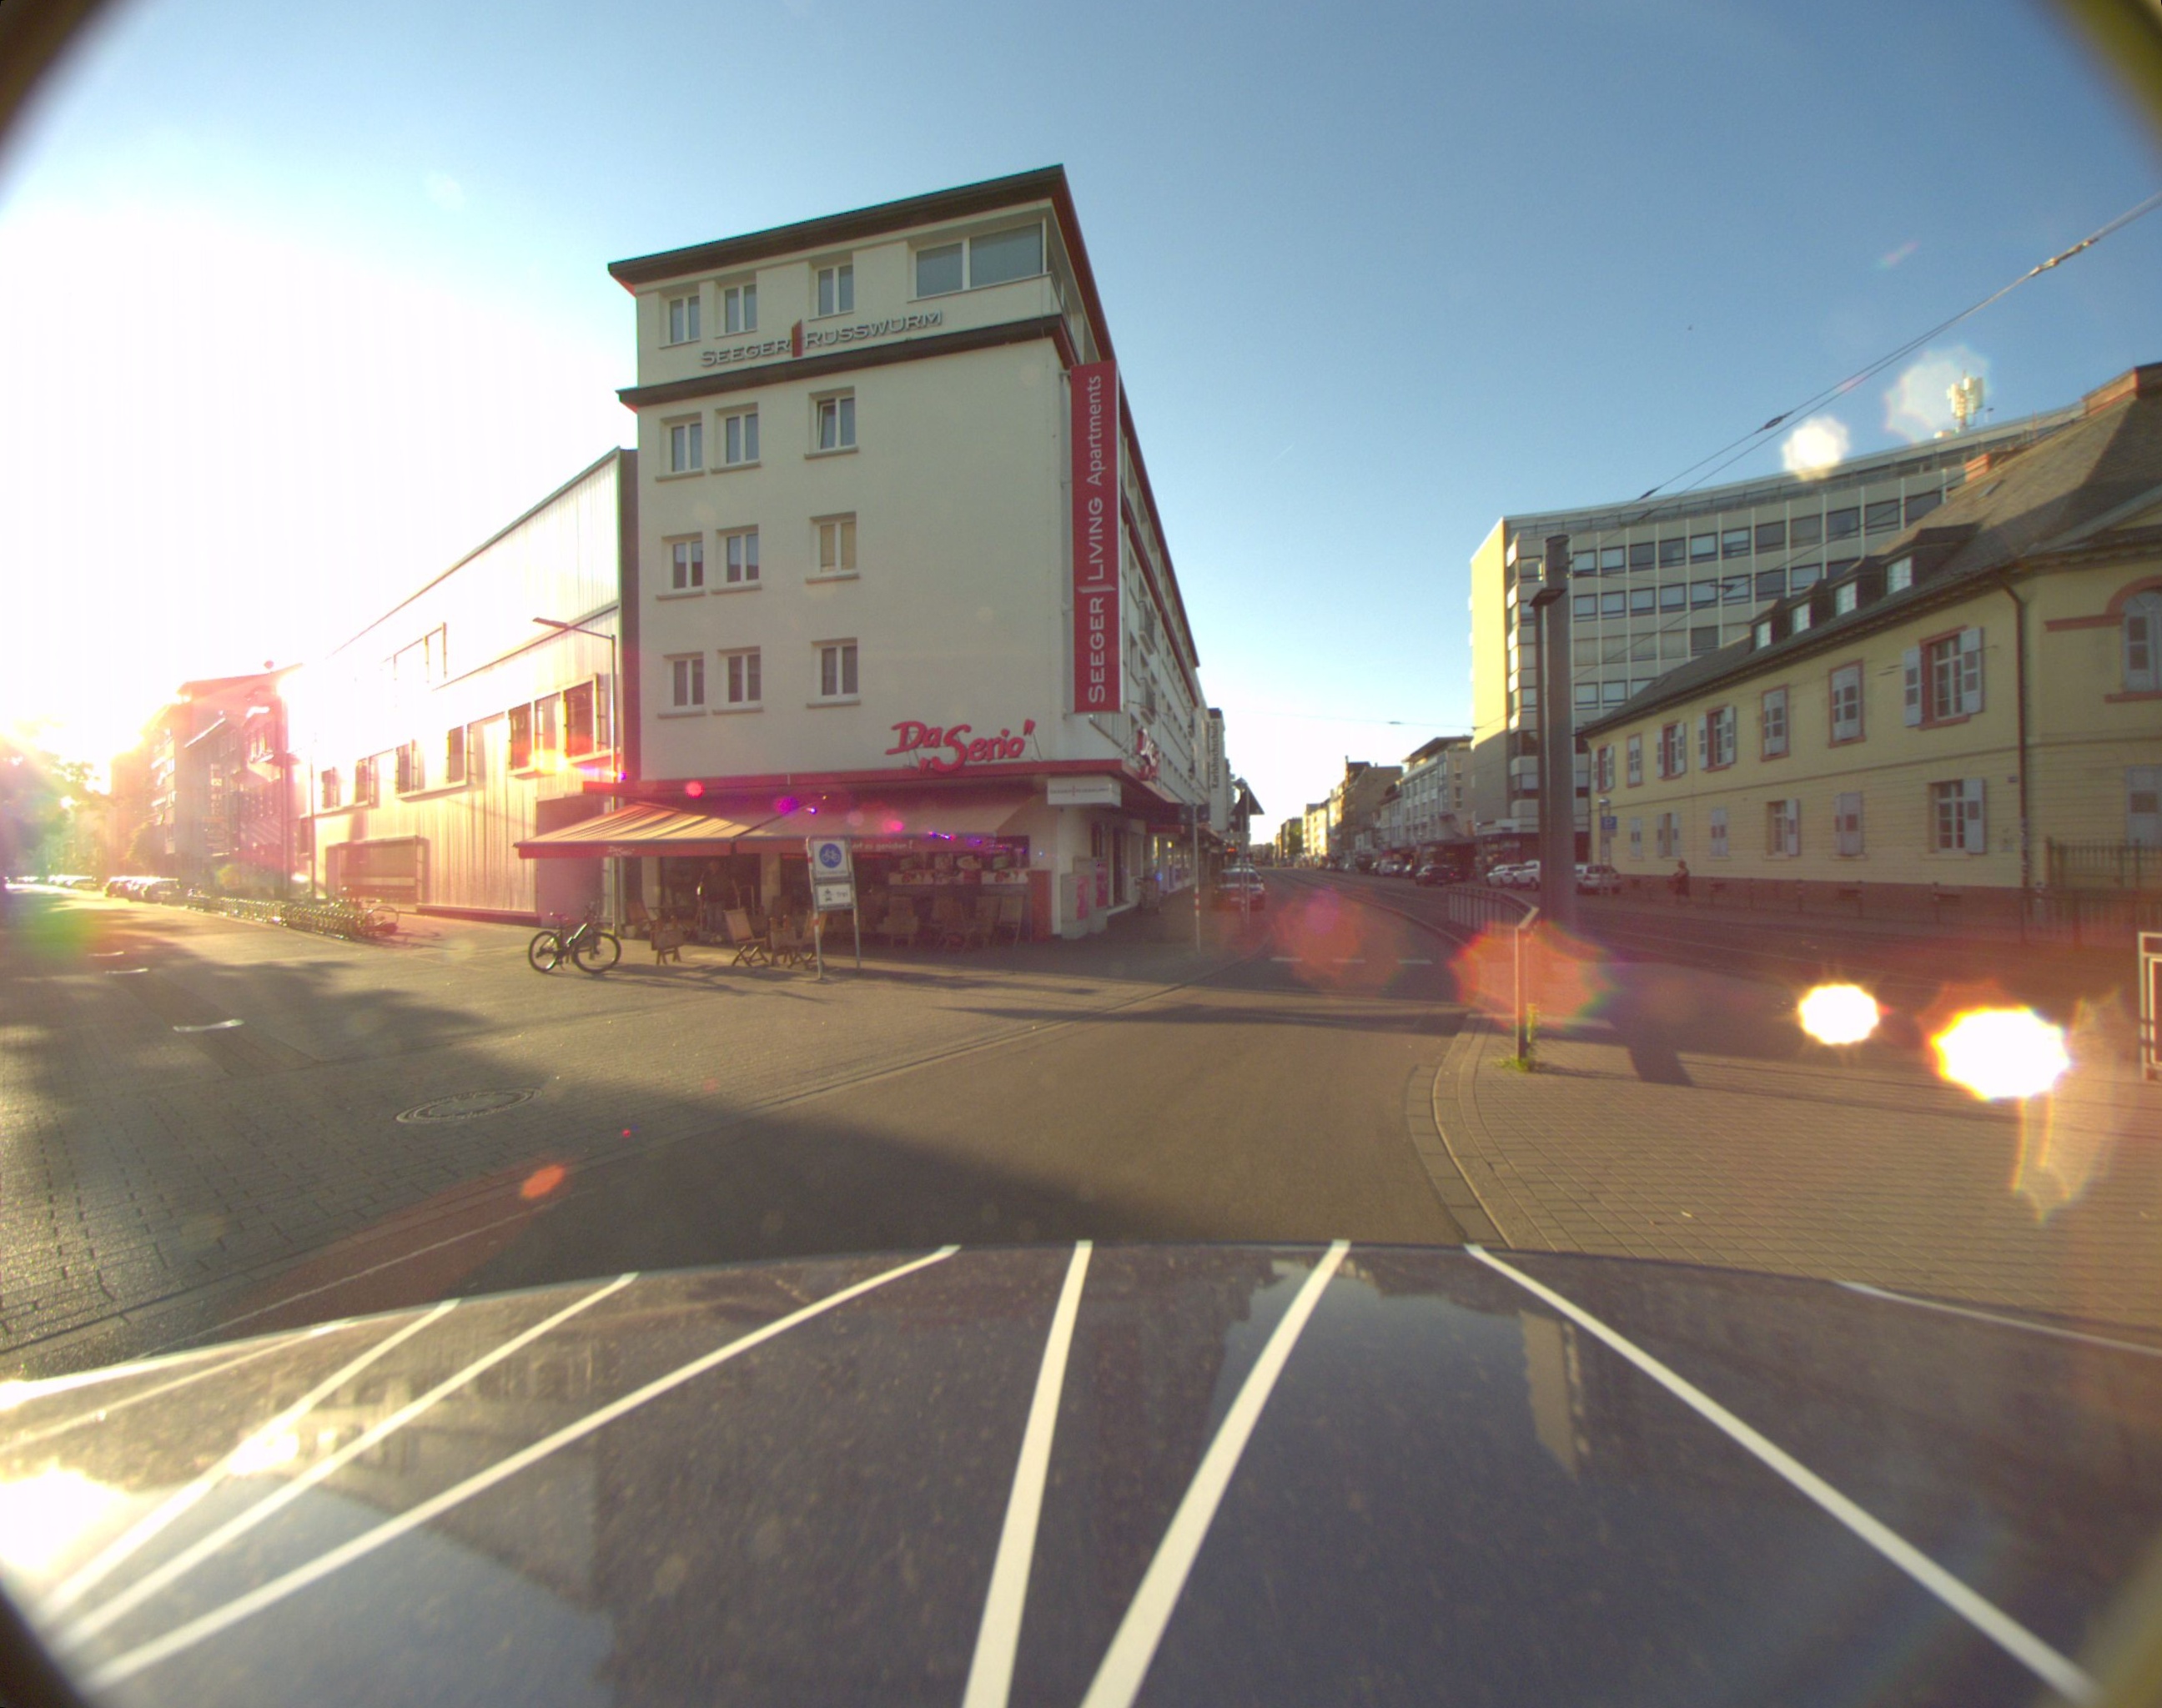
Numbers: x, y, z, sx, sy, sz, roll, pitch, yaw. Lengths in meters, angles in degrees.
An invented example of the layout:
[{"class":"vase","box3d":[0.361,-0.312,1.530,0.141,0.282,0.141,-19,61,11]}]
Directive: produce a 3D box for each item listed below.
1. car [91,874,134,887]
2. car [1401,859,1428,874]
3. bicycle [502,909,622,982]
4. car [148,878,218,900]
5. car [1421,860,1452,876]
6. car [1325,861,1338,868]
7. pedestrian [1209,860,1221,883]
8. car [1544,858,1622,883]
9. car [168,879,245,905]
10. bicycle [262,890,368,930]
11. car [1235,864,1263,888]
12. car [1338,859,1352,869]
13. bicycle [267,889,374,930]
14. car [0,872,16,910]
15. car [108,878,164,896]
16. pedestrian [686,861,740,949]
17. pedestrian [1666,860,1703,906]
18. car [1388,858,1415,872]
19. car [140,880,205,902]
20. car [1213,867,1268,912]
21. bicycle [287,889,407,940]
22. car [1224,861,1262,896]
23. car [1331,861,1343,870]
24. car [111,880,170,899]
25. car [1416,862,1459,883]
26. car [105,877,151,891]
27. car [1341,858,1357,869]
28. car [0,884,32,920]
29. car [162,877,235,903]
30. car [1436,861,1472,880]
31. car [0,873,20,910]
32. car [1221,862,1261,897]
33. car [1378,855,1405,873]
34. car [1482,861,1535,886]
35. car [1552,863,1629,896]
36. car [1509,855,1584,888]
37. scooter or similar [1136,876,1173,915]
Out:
[{"class":"car","box3d":[-101.880,2.799,79.946,1.262,1.271,2.694,-3,-1,35]},{"class":"car","box3d":[33.487,1.203,76.457,1.793,1.452,4.096,0,-1,14]},{"class":"bicycle","box3d":[-8.727,1.521,12.772,1.907,1.152,0.537,-1,0,15]},{"class":"car","box3d":[-55.372,2.151,46.857,1.445,1.239,2.694,-3,-1,38]},{"class":"car","box3d":[31.567,1.231,67.586,1.694,1.426,3.596,-1,-1,12]},{"class":"car","box3d":[51.514,2.112,156.266,1.997,1.411,4.407,-3,-1,10]},{"class":"pedestrian","box3d":[8.940,1.166,50.742,0.734,1.564,0.968,-1,0,12]},{"class":"car","box3d":[34.302,1.116,52.048,3.994,1.544,1.916,-3,0,11]},{"class":"car","box3d":[-48.358,2.087,42.048,1.445,1.239,2.694,-3,-1,38]},{"class":"bicycle","box3d":[-24.912,1.791,24.769,0.527,1.133,2.348,-2,0,30]},{"class":"car","box3d":[11.925,1.511,54.035,1.795,1.524,4.861,-2,-1,12]},{"class":"car","box3d":[44.559,1.631,128.229,1.658,1.561,3.473,-2,-1,12]},{"class":"bicycle","box3d":[-24.415,1.760,24.469,0.527,1.138,2.348,-2,0,30]},{"class":"car","box3d":[-56.970,1.959,37.890,1.864,1.965,4.003,-2,0,8]},{"class":"car","box3d":[-74.640,2.625,60.031,1.400,1.239,2.694,-3,-1,35]},{"class":"pedestrian","box3d":[-7.982,1.086,16.515,0.715,1.815,0.762,-2,1,1]},{"class":"pedestrian","box3d":[20.491,0.983,25.822,0.720,1.527,0.719,0,0,8]},{"class":"car","box3d":[34.993,1.217,83.090,1.875,1.418,4.575,-3,-1,13]},{"class":"car","box3d":[-59.559,2.440,49.832,1.295,1.292,2.591,-3,-1,36]},{"class":"car","box3d":[5.966,1.255,28.424,1.793,1.404,4.692,-3,-1,12]},{"class":"bicycle","box3d":[-20.896,1.697,21.709,0.604,1.225,2.348,-1,1,30]},{"class":"car","box3d":[8.754,1.298,41.006,1.859,1.690,4.422,-2,-1,12]},{"class":"car","box3d":[48.736,2.197,144.593,1.844,1.484,3.820,-3,-1,13]},{"class":"car","box3d":[-70.773,2.667,57.195,1.445,1.239,2.694,-3,-1,35]},{"class":"car","box3d":[24.522,1.235,52.443,1.769,1.368,4.227,-1,0,12]},{"class":"car","box3d":[-93.071,2.913,74.192,1.445,1.239,2.694,-1,-1,35]},{"class":"car","box3d":[43.795,1.525,124.069,1.894,1.547,4.627,-3,-1,13]},{"class":"car","box3d":[-41.556,1.821,27.309,1.999,1.337,4.153,-1,0,-2]},{"class":"car","box3d":[-51.164,2.089,44.076,1.445,1.351,2.694,-3,-1,38]},{"class":"car","box3d":[30.358,1.318,61.917,1.694,1.417,3.969,-3,-1,13]},{"class":"car","box3d":[-59.471,2.058,39.849,1.843,2.001,4.003,-2,0,8]},{"class":"car","box3d":[7.418,1.125,35.142,1.654,1.412,4.195,-3,-1,13]},{"class":"car","box3d":[36.789,1.142,90.256,1.967,2.001,5.105,-2,-1,11]},{"class":"car","box3d":[27.353,1.215,48.732,1.723,1.444,4.288,-2,-1,12]},{"class":"car","box3d":[24.836,1.225,37.212,1.751,1.465,4.005,-3,-1,12]},{"class":"car","box3d":[25.851,0.940,42.393,1.890,1.651,4.765,-2,-1,11]},{"class":"scooter or similar","box3d":[2.344,1.326,24.362,0.336,1.187,1.435,0,0,-34]}]
